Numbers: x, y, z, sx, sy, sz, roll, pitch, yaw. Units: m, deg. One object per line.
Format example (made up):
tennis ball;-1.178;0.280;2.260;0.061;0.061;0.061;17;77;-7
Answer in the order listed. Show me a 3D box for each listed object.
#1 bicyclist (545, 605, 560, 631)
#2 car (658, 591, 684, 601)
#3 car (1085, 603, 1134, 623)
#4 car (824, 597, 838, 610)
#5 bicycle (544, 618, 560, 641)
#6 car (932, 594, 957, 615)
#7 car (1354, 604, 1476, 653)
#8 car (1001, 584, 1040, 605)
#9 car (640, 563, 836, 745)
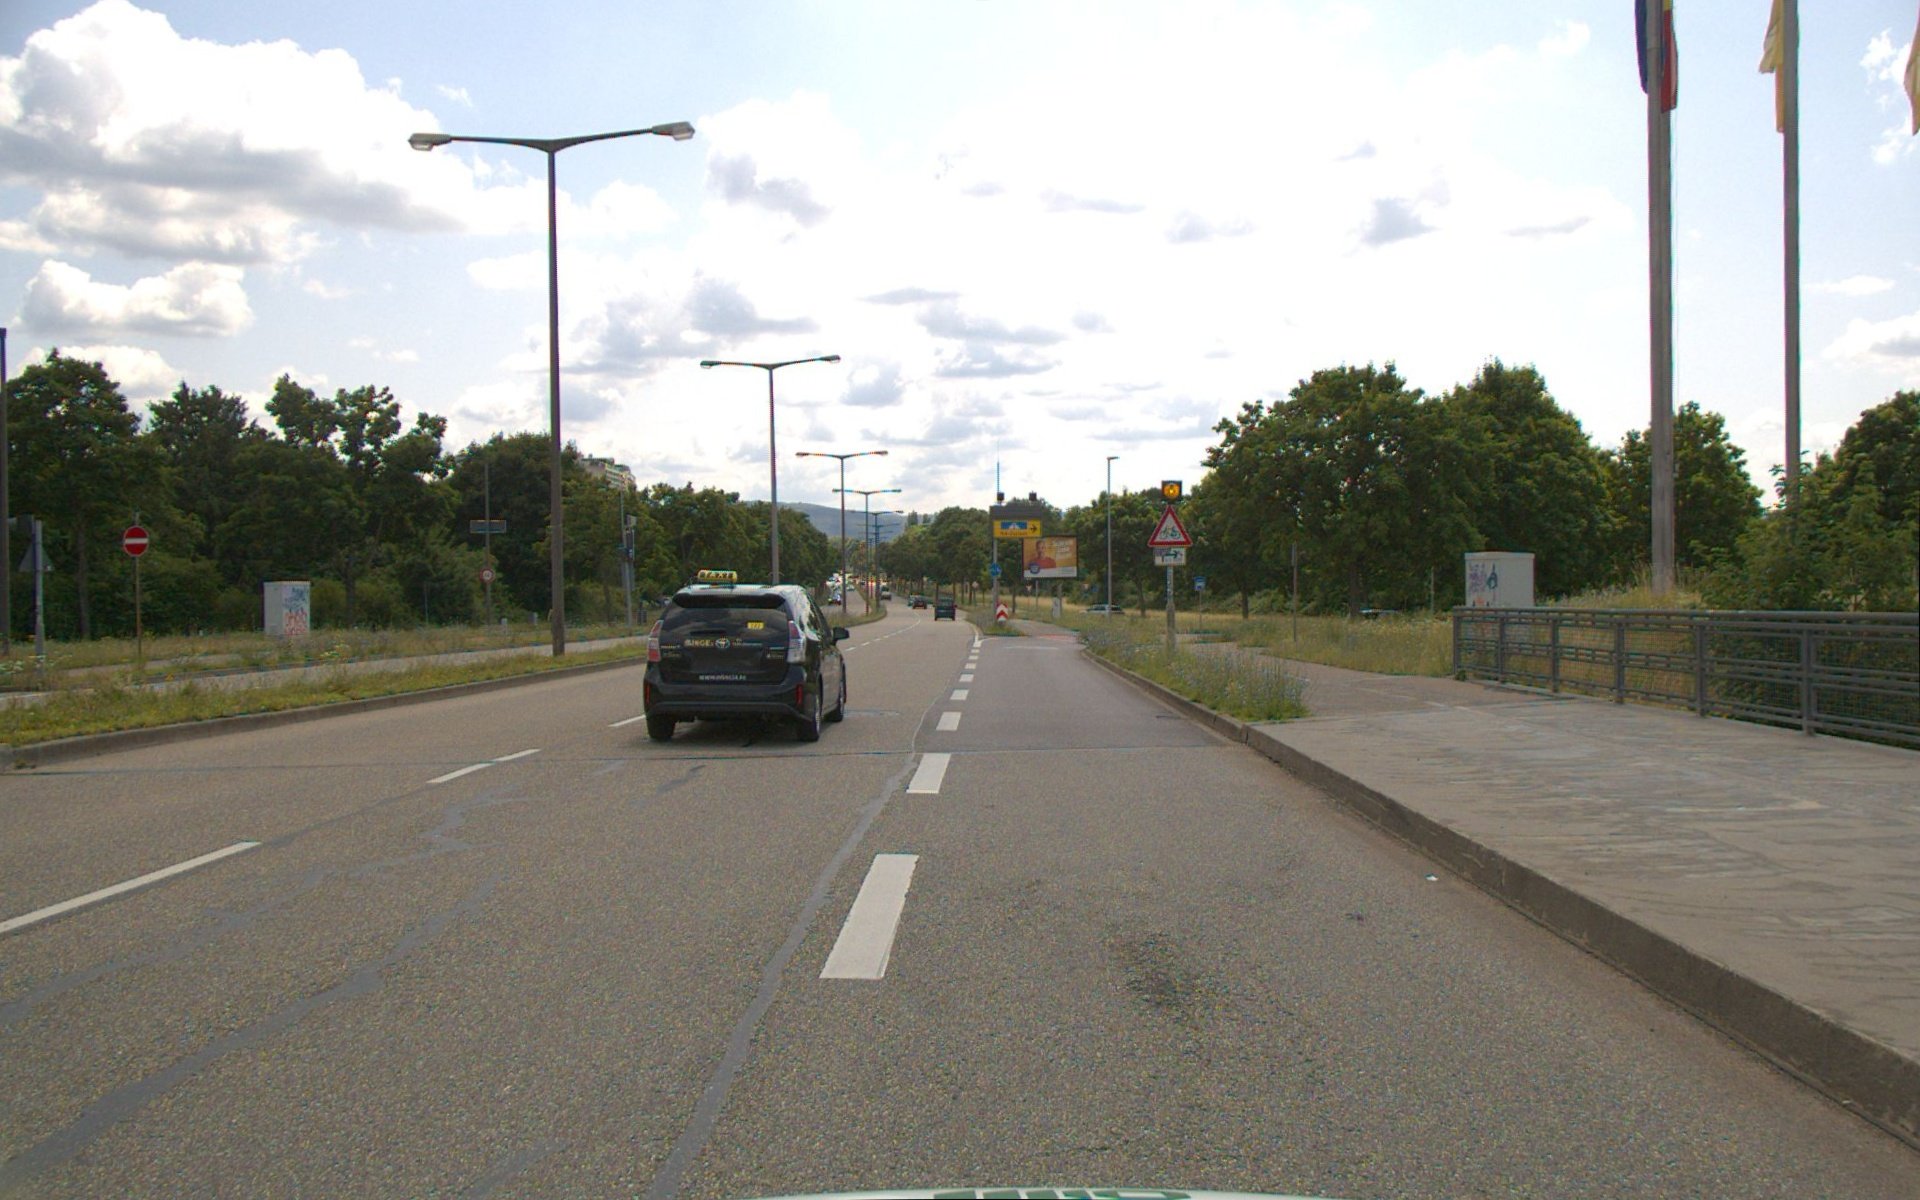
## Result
bicyclist;-20.904;0.942;84.870;0.510;1.294;1.106;1;1;-3
car;-44.274;-0.643;253.539;3.707;1.412;1.786;1;1;0
car;12.388;1.041;137.273;1.979;1.534;3.948;0;1;-37
car;-19.403;0.523;249.473;1.839;1.821;4.726;-2;0;-2
bicycle;-20.952;1.496;84.904;0.423;1.087;1.907;1;1;-3
car;-1.362;0.354;139.826;1.954;1.691;3.998;1;1;-3
car;17.000;1.061;61.852;3.913;1.691;1.996;1;1;-9
car;5.169;-0.459;142.555;1.965;1.691;3.975;1;1;-21
car;-2.259;0.477;17.746;1.744;1.713;3.998;1;1;-3
